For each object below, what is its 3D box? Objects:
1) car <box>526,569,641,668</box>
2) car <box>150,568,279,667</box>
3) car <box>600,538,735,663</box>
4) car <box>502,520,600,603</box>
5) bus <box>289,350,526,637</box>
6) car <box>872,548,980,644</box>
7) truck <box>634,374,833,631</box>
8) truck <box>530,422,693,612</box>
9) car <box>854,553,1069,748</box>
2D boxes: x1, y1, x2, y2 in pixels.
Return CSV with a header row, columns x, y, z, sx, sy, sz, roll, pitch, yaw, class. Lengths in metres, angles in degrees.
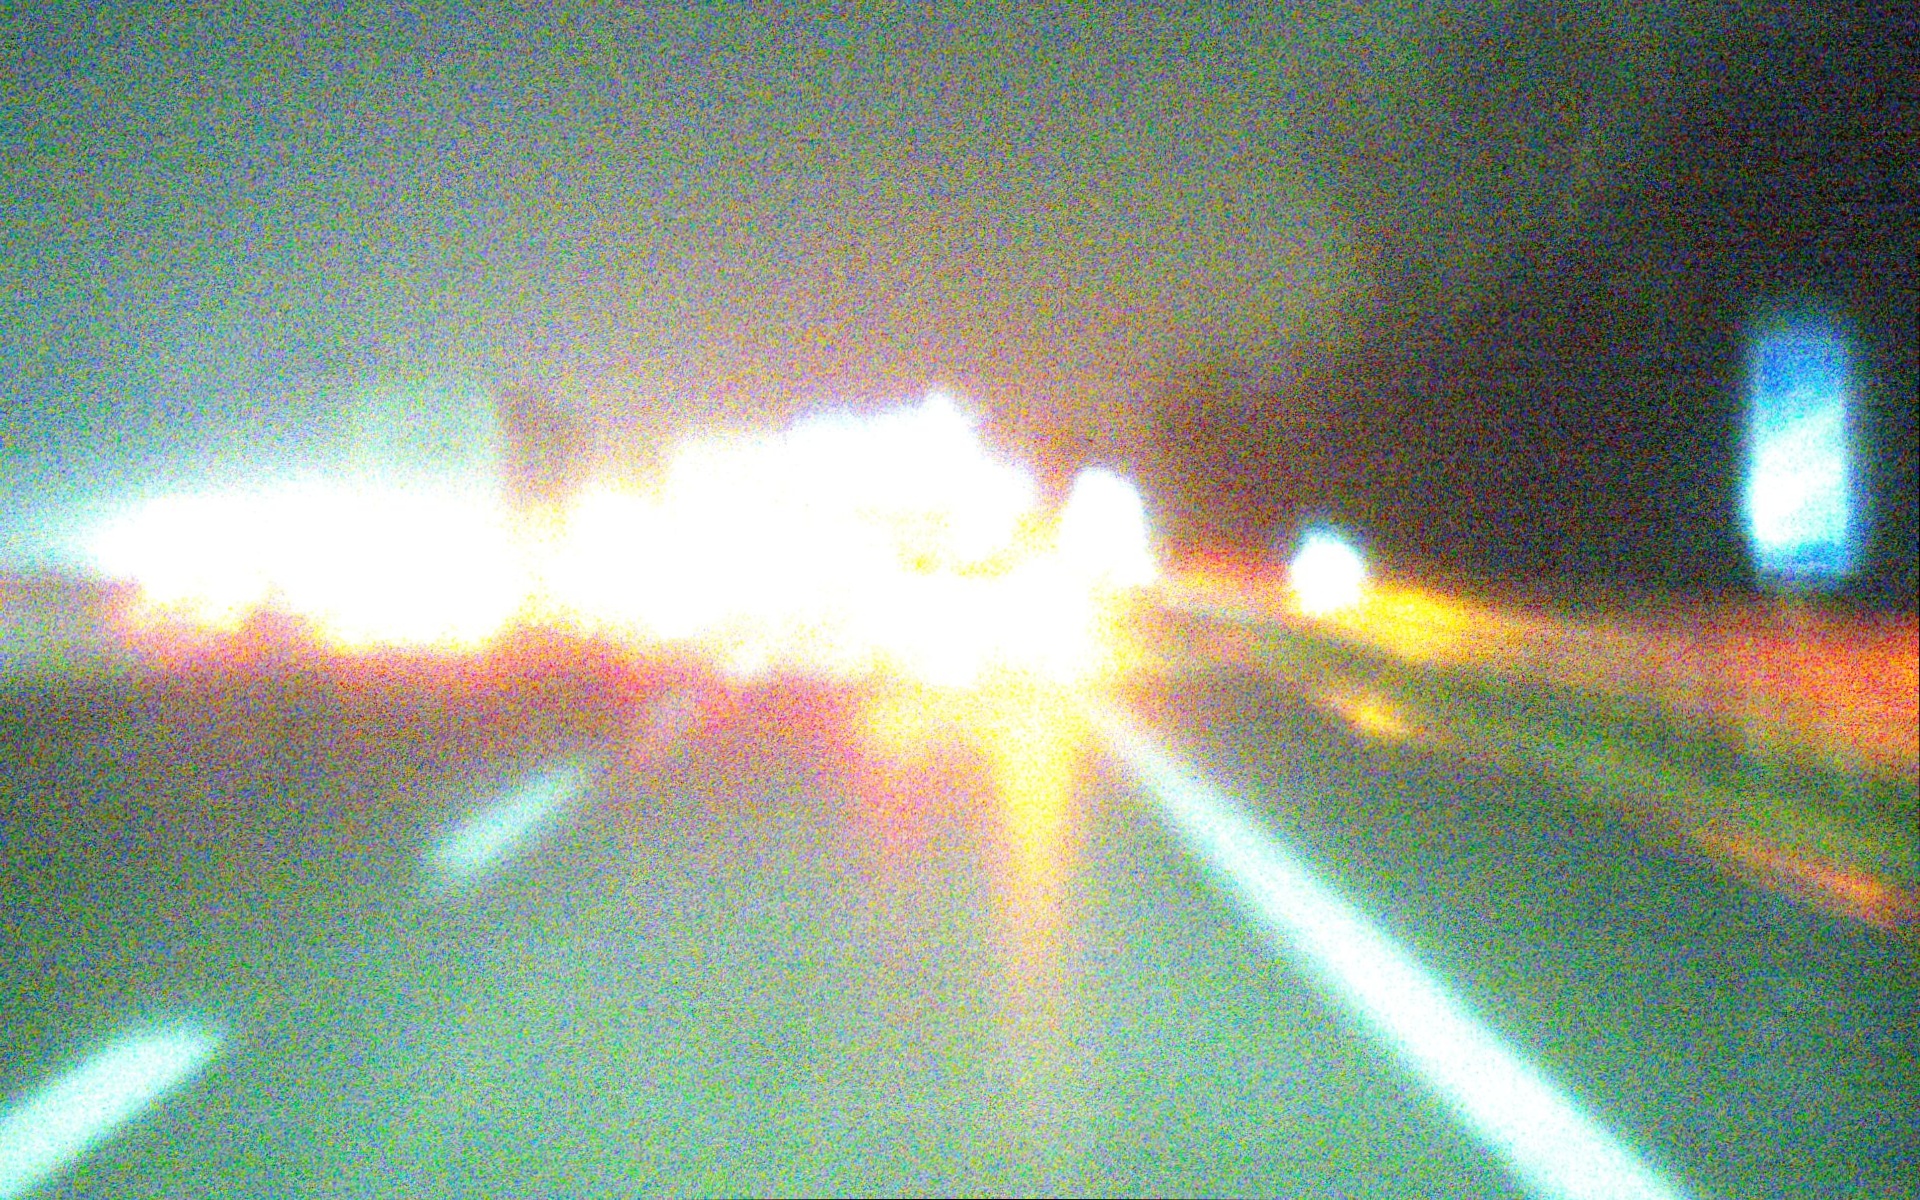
x,y,z,sx,sy,sz,roll,pitch,yaw,class
-7.144,0.329,65.603,1.993,1.801,4.001,1,1,-4,car
-12.947,0.280,59.879,1.694,1.645,3.841,1,1,-5,car
-4.925,-0.012,58.435,2.125,2.007,4.646,1,1,-3,car
-9.264,-0.881,78.076,1.993,1.801,4.001,1,1,-4,car
-9.440,-1.746,59.921,3.096,4.492,10.915,1,1,-4,bus
-0.776,-0.105,75.190,2.125,2.007,4.646,1,1,-3,car
-5.234,-2.209,81.996,4.210,5.629,11.468,1,1,-1,truck
-10.878,-2.551,108.776,4.210,5.629,11.468,1,1,-1,truck
-0.017,0.456,34.317,1.993,1.801,4.000,1,1,-1,car
